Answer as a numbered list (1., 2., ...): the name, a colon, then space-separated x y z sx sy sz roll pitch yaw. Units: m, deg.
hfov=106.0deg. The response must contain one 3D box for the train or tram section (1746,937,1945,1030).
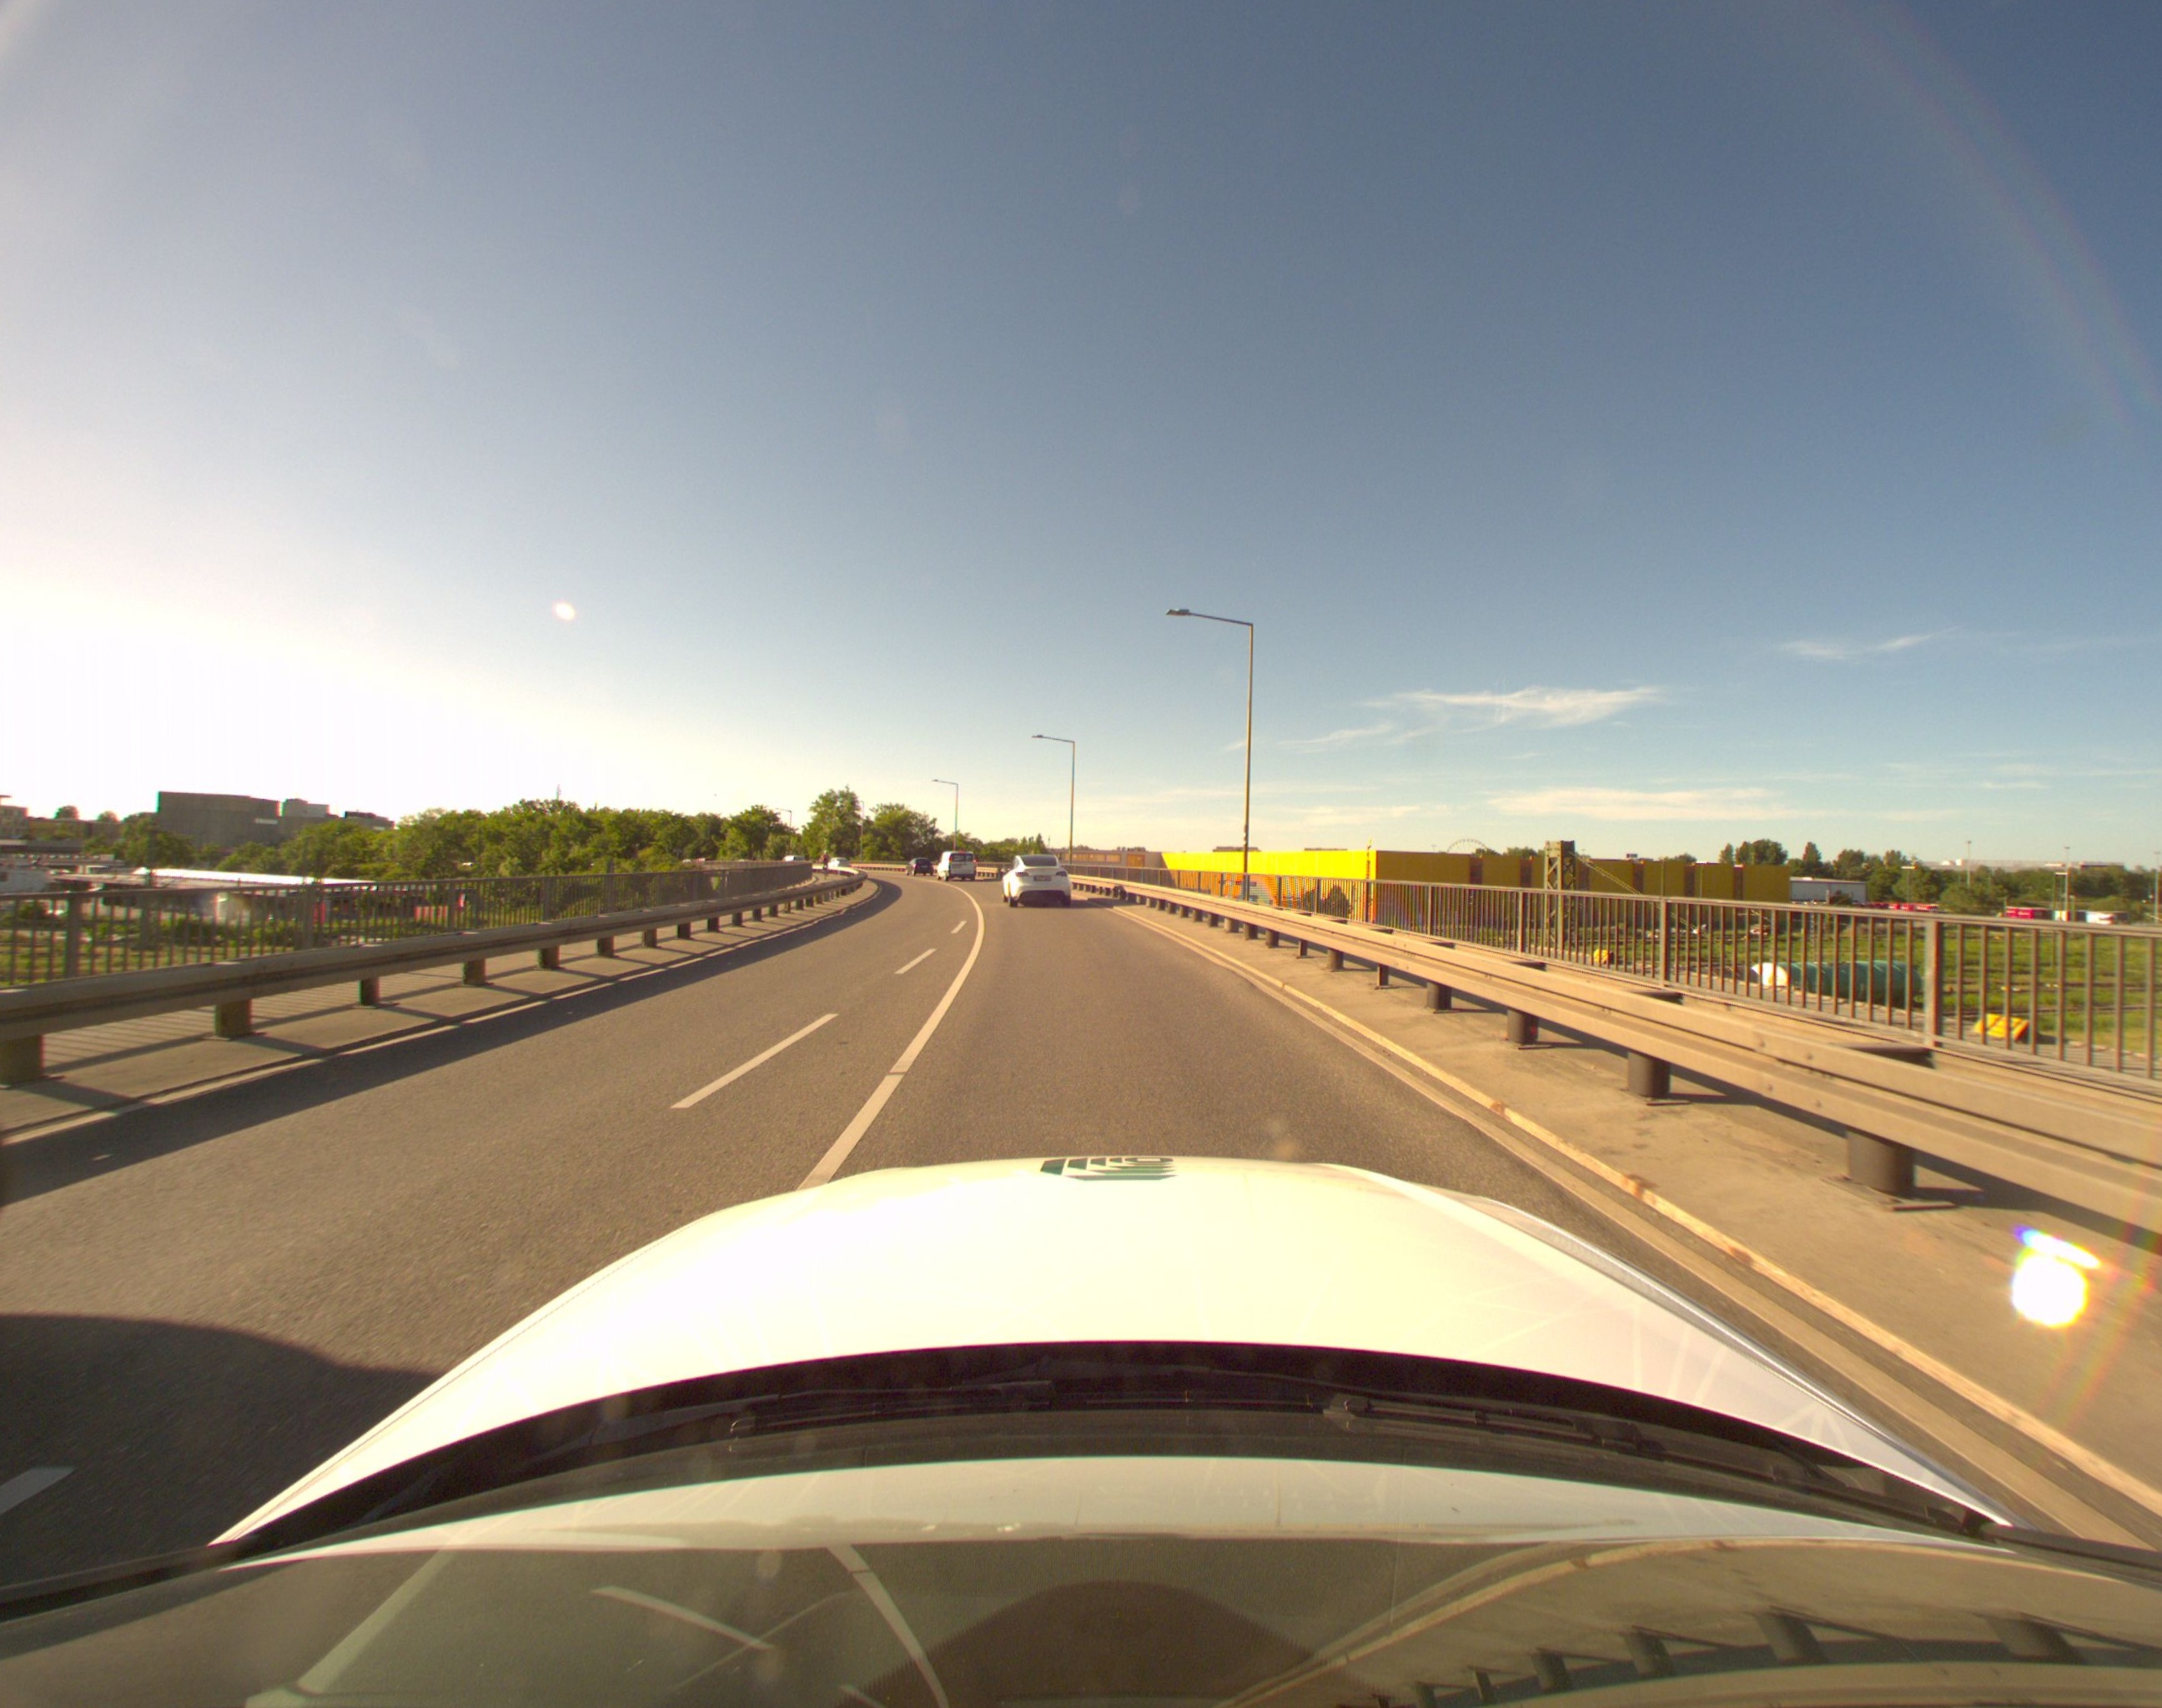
1. train or tram section: 53.752 8.863 57.141 15.171 5.183 3.316 0 0 -18

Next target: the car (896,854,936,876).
1. car: -13.485 0.898 66.379 1.981 1.638 3.960 -1 -1 -31

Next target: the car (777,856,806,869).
1. car: -36.543 1.102 102.748 3.844 1.555 1.853 -1 0 42

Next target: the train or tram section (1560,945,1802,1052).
1. train or tram section: 38.531 8.961 52.058 16.872 5.261 3.316 0 0 -18

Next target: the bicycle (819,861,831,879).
1. bicycle: -15.501 0.943 49.360 0.655 1.065 1.878 0 0 -19

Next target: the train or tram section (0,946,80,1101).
1. train or tram section: -42.299 5.552 23.897 16.761 4.591 3.882 0 0 -18

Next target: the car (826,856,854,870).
1. car: -26.812 0.986 90.469 1.873 1.585 3.872 0 0 -35

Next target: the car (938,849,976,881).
1. car: -8.026 0.675 52.477 2.008 1.940 4.445 0 0 -14

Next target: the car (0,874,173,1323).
1. car: -4.474 0.797 0.970 1.867 1.439 4.322 0 0 1

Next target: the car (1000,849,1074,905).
1. car: -1.511 0.715 26.486 1.985 1.638 4.049 -1 -1 -9

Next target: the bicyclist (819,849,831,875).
1. bicyclist: -15.488 0.483 49.319 0.656 1.589 0.763 0 -1 -19
